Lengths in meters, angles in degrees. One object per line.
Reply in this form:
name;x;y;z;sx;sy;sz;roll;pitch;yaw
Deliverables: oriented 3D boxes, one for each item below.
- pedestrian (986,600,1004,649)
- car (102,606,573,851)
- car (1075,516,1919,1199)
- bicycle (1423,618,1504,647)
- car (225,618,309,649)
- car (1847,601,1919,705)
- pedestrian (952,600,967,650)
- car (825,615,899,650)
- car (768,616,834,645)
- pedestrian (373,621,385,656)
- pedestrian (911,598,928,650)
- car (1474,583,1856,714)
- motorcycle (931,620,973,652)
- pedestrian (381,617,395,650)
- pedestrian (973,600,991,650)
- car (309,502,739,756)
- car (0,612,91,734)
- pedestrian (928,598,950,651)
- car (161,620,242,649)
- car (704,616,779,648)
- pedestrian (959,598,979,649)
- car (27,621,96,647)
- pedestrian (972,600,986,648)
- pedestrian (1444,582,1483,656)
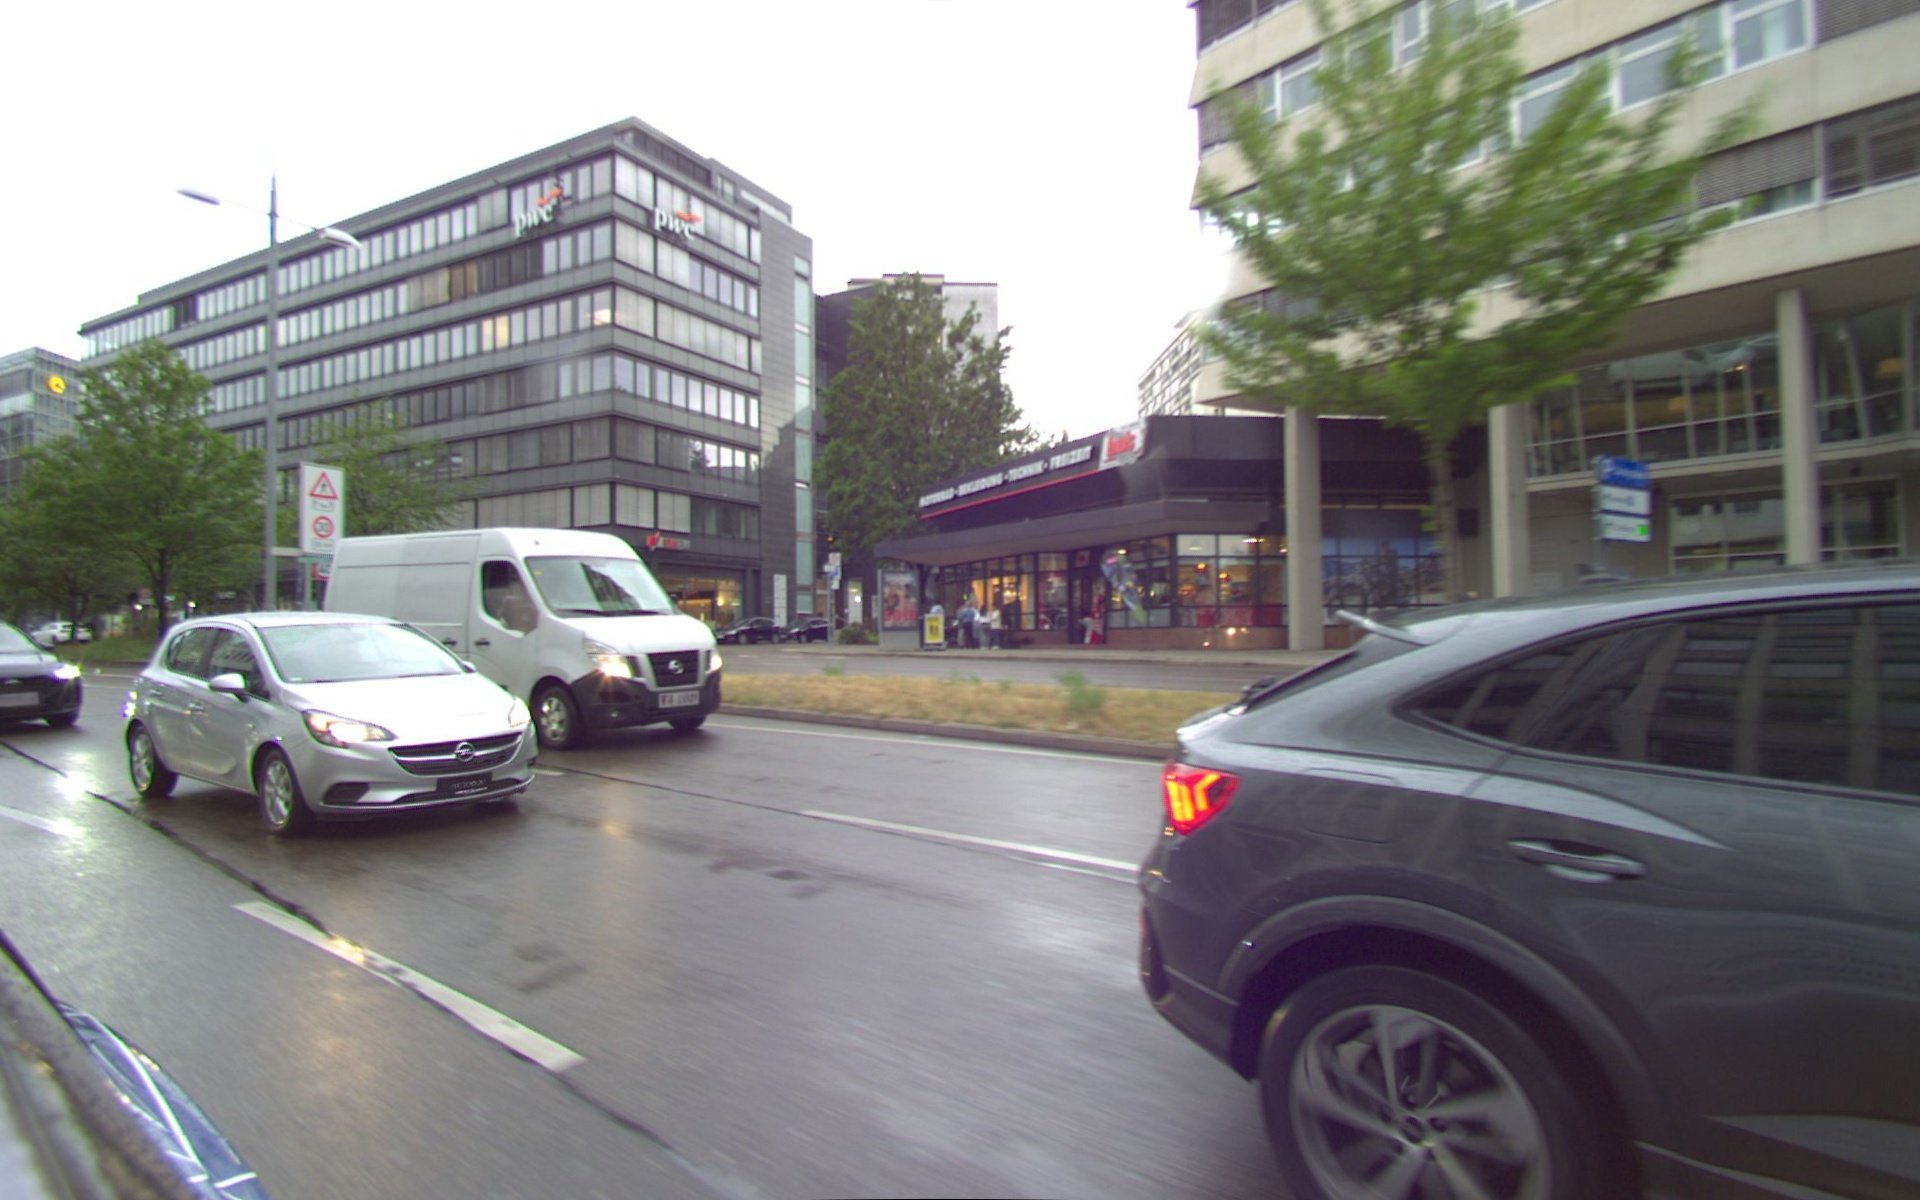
pedestrian;1.277;0.895;36.977;0.422;1.784;0.471;0;-1;-38
car;-4.903;0.807;7.825;3.864;1.446;1.635;-1;0;34
car;2.443;0.619;1.797;4.269;1.533;1.631;-1;0;41
bicycle;15.397;0.983;30.971;2.185;0.866;0.455;0;0;33
car;-35.375;1.715;51.671;3.982;1.518;1.981;-1;-1;28
car;14.754;0.720;13.471;4.409;1.389;1.843;0;0;41
pedestrian;-0.014;0.910;36.897;0.323;1.784;0.438;0;-1;-39
car;-4.744;1.555;49.398;1.842;1.596;3.726;-1;-1;29
car;-9.025;1.721;57.718;1.842;1.596;3.726;-1;-1;29
pedestrian;-34.291;2.264;59.764;0.295;2.029;0.536;-1;-1;27
pedestrian;-1.393;0.841;35.099;0.356;1.784;0.463;0;-1;-38
car;9.595;0.605;13.987;4.151;1.547;1.626;-1;-1;42
motorcycle;-0.311;1.442;40.510;1.643;1.242;0.360;-1;-1;-7
pedestrian;-34.825;2.027;61.583;0.459;2.029;0.570;-1;-1;27
pedestrian;0.803;0.899;36.505;0.422;1.784;0.471;0;-1;-38
car;-5.345;0.325;12.102;5.461;2.459;1.932;-1;0;32
car;-13.227;0.916;13.046;4.076;1.446;1.760;-1;0;29
pedestrian;-0.725;0.843;35.023;0.528;1.784;0.551;0;-1;-38
car;-41.036;1.866;54.753;4.089;1.518;1.981;-1;-1;28
car;-11.468;1.671;53.321;1.842;1.596;3.726;-1;-1;29
pedestrian;0.315;0.820;35.862;0.548;1.784;0.405;0;-1;-38
car;-55.580;2.106;62.586;3.982;1.518;1.981;-1;-1;28
pedestrian;0.706;0.898;37.762;0.323;1.784;0.358;0;-1;-38
pedestrian;11.801;0.436;23.715;0.760;1.696;0.673;-1;-1;29
